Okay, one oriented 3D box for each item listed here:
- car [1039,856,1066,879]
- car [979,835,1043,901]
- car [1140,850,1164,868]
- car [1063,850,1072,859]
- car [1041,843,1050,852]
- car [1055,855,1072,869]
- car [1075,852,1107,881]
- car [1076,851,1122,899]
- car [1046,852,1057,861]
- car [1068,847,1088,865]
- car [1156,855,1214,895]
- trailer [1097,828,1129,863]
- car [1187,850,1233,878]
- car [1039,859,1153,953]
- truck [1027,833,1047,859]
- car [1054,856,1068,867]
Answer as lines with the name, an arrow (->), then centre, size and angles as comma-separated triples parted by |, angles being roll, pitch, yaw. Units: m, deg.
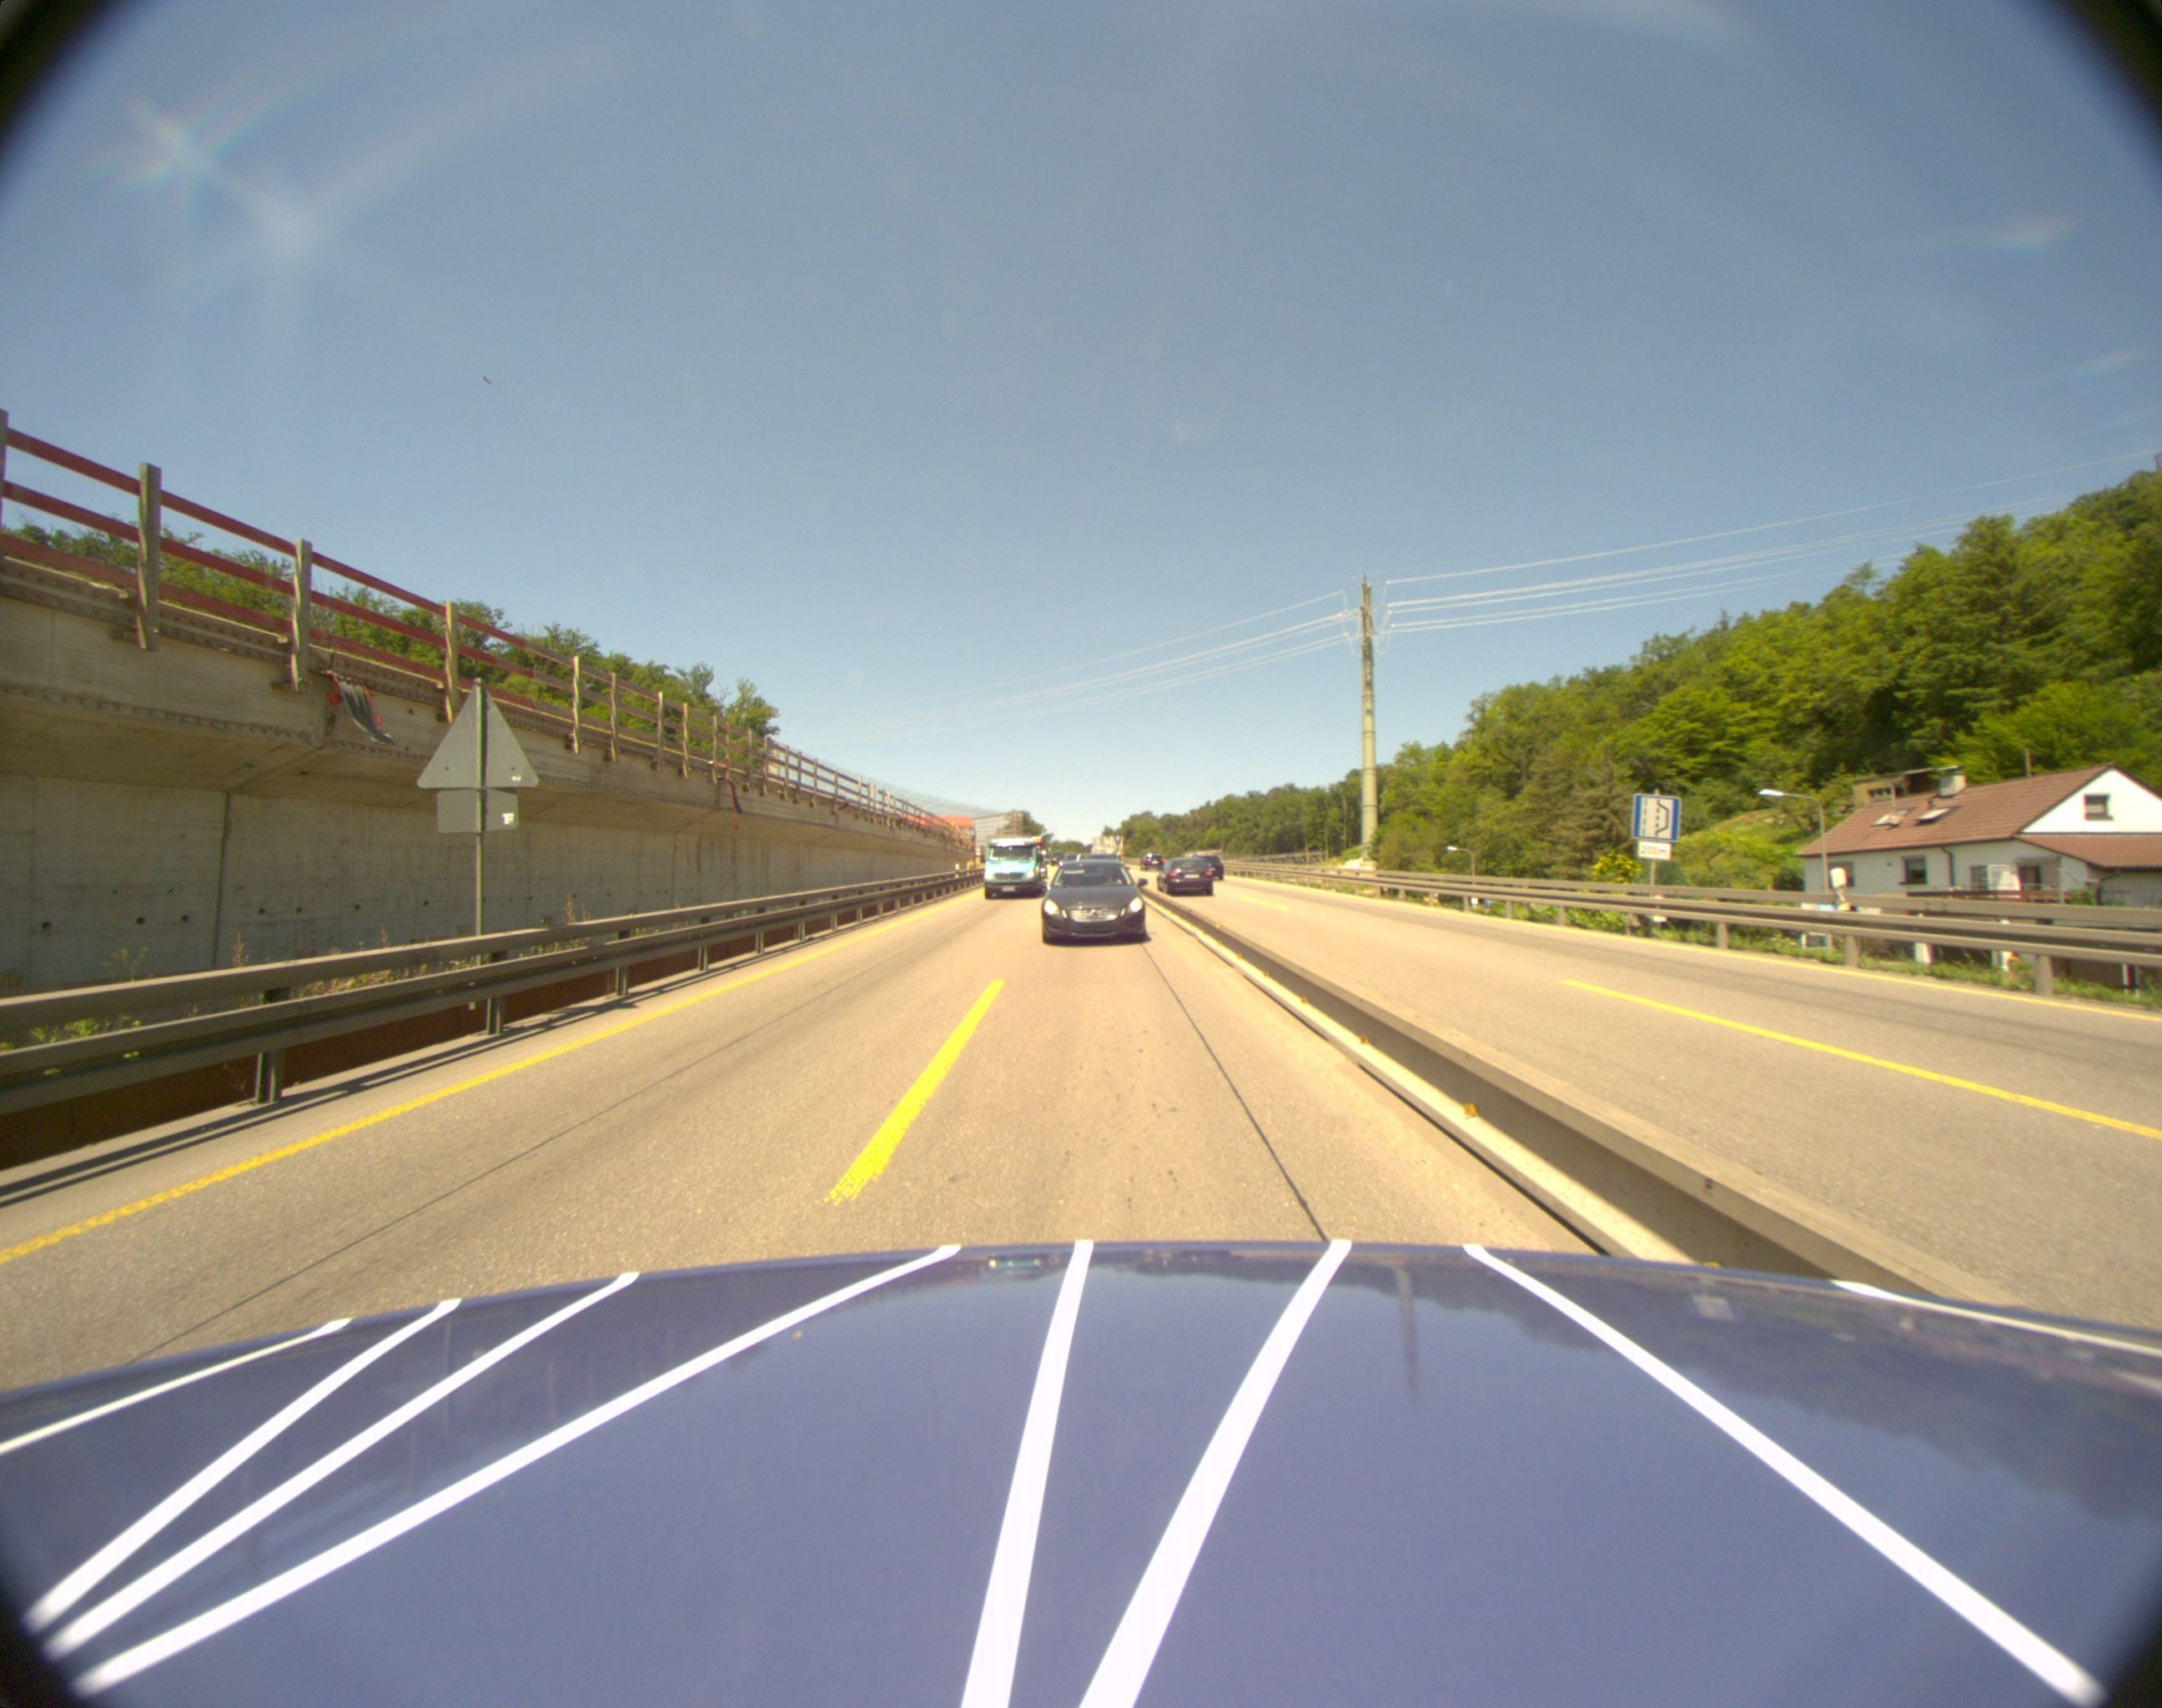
car -> -1.934, 0.884, 52.330 | 1.739, 1.401, 3.584 | -2, 1, 0
car -> -2.684, 0.444, 30.548 | 2.218, 2.312, 6.899 | -1, 1, -3
car -> 6.195, 0.456, 66.401 | 1.737, 1.480, 4.001 | -1, -1, 1
car -> -3.198, 0.075, 180.063 | 1.999, 1.999, 4.856 | -1, 1, -2
car -> -8.221, -1.498, 178.550 | 1.999, 1.999, 4.856 | -1, 1, -2
car -> -1.927, 0.874, 80.925 | 1.647, 1.366, 3.343 | -2, 1, -3
car -> 0.551, 0.690, 44.466 | 1.736, 1.557, 3.619 | -2, 1, 0
car -> 0.617, 0.699, 27.440 | 1.519, 1.543, 3.860 | -1, 1, 0
car -> -4.782, 0.355, 123.345 | 1.586, 1.366, 3.344 | -2, 1, 1
car -> -0.239, 0.158, 64.200 | 1.647, 1.366, 3.344 | -2, 1, 1
car -> 3.879, 0.759, 28.800 | 1.722, 1.400, 4.000 | -1, 0, 1
trailer -> 4.330, -1.217, 106.165 | 3.260, 4.353, 14.054 | -2, 1, -1
car -> 7.159, 0.527, 42.720 | 1.846, 1.410, 4.686 | 0, 1, 1
car -> 0.125, 0.867, 14.763 | 1.844, 1.475, 4.561 | -1, 0, -3
truck -> -6.401, -1.209, 108.845 | 2.472, 3.464, 9.862 | -2, 1, -5
car -> -2.572, 0.989, 99.048 | 1.586, 1.366, 3.344 | -2, 1, 1
